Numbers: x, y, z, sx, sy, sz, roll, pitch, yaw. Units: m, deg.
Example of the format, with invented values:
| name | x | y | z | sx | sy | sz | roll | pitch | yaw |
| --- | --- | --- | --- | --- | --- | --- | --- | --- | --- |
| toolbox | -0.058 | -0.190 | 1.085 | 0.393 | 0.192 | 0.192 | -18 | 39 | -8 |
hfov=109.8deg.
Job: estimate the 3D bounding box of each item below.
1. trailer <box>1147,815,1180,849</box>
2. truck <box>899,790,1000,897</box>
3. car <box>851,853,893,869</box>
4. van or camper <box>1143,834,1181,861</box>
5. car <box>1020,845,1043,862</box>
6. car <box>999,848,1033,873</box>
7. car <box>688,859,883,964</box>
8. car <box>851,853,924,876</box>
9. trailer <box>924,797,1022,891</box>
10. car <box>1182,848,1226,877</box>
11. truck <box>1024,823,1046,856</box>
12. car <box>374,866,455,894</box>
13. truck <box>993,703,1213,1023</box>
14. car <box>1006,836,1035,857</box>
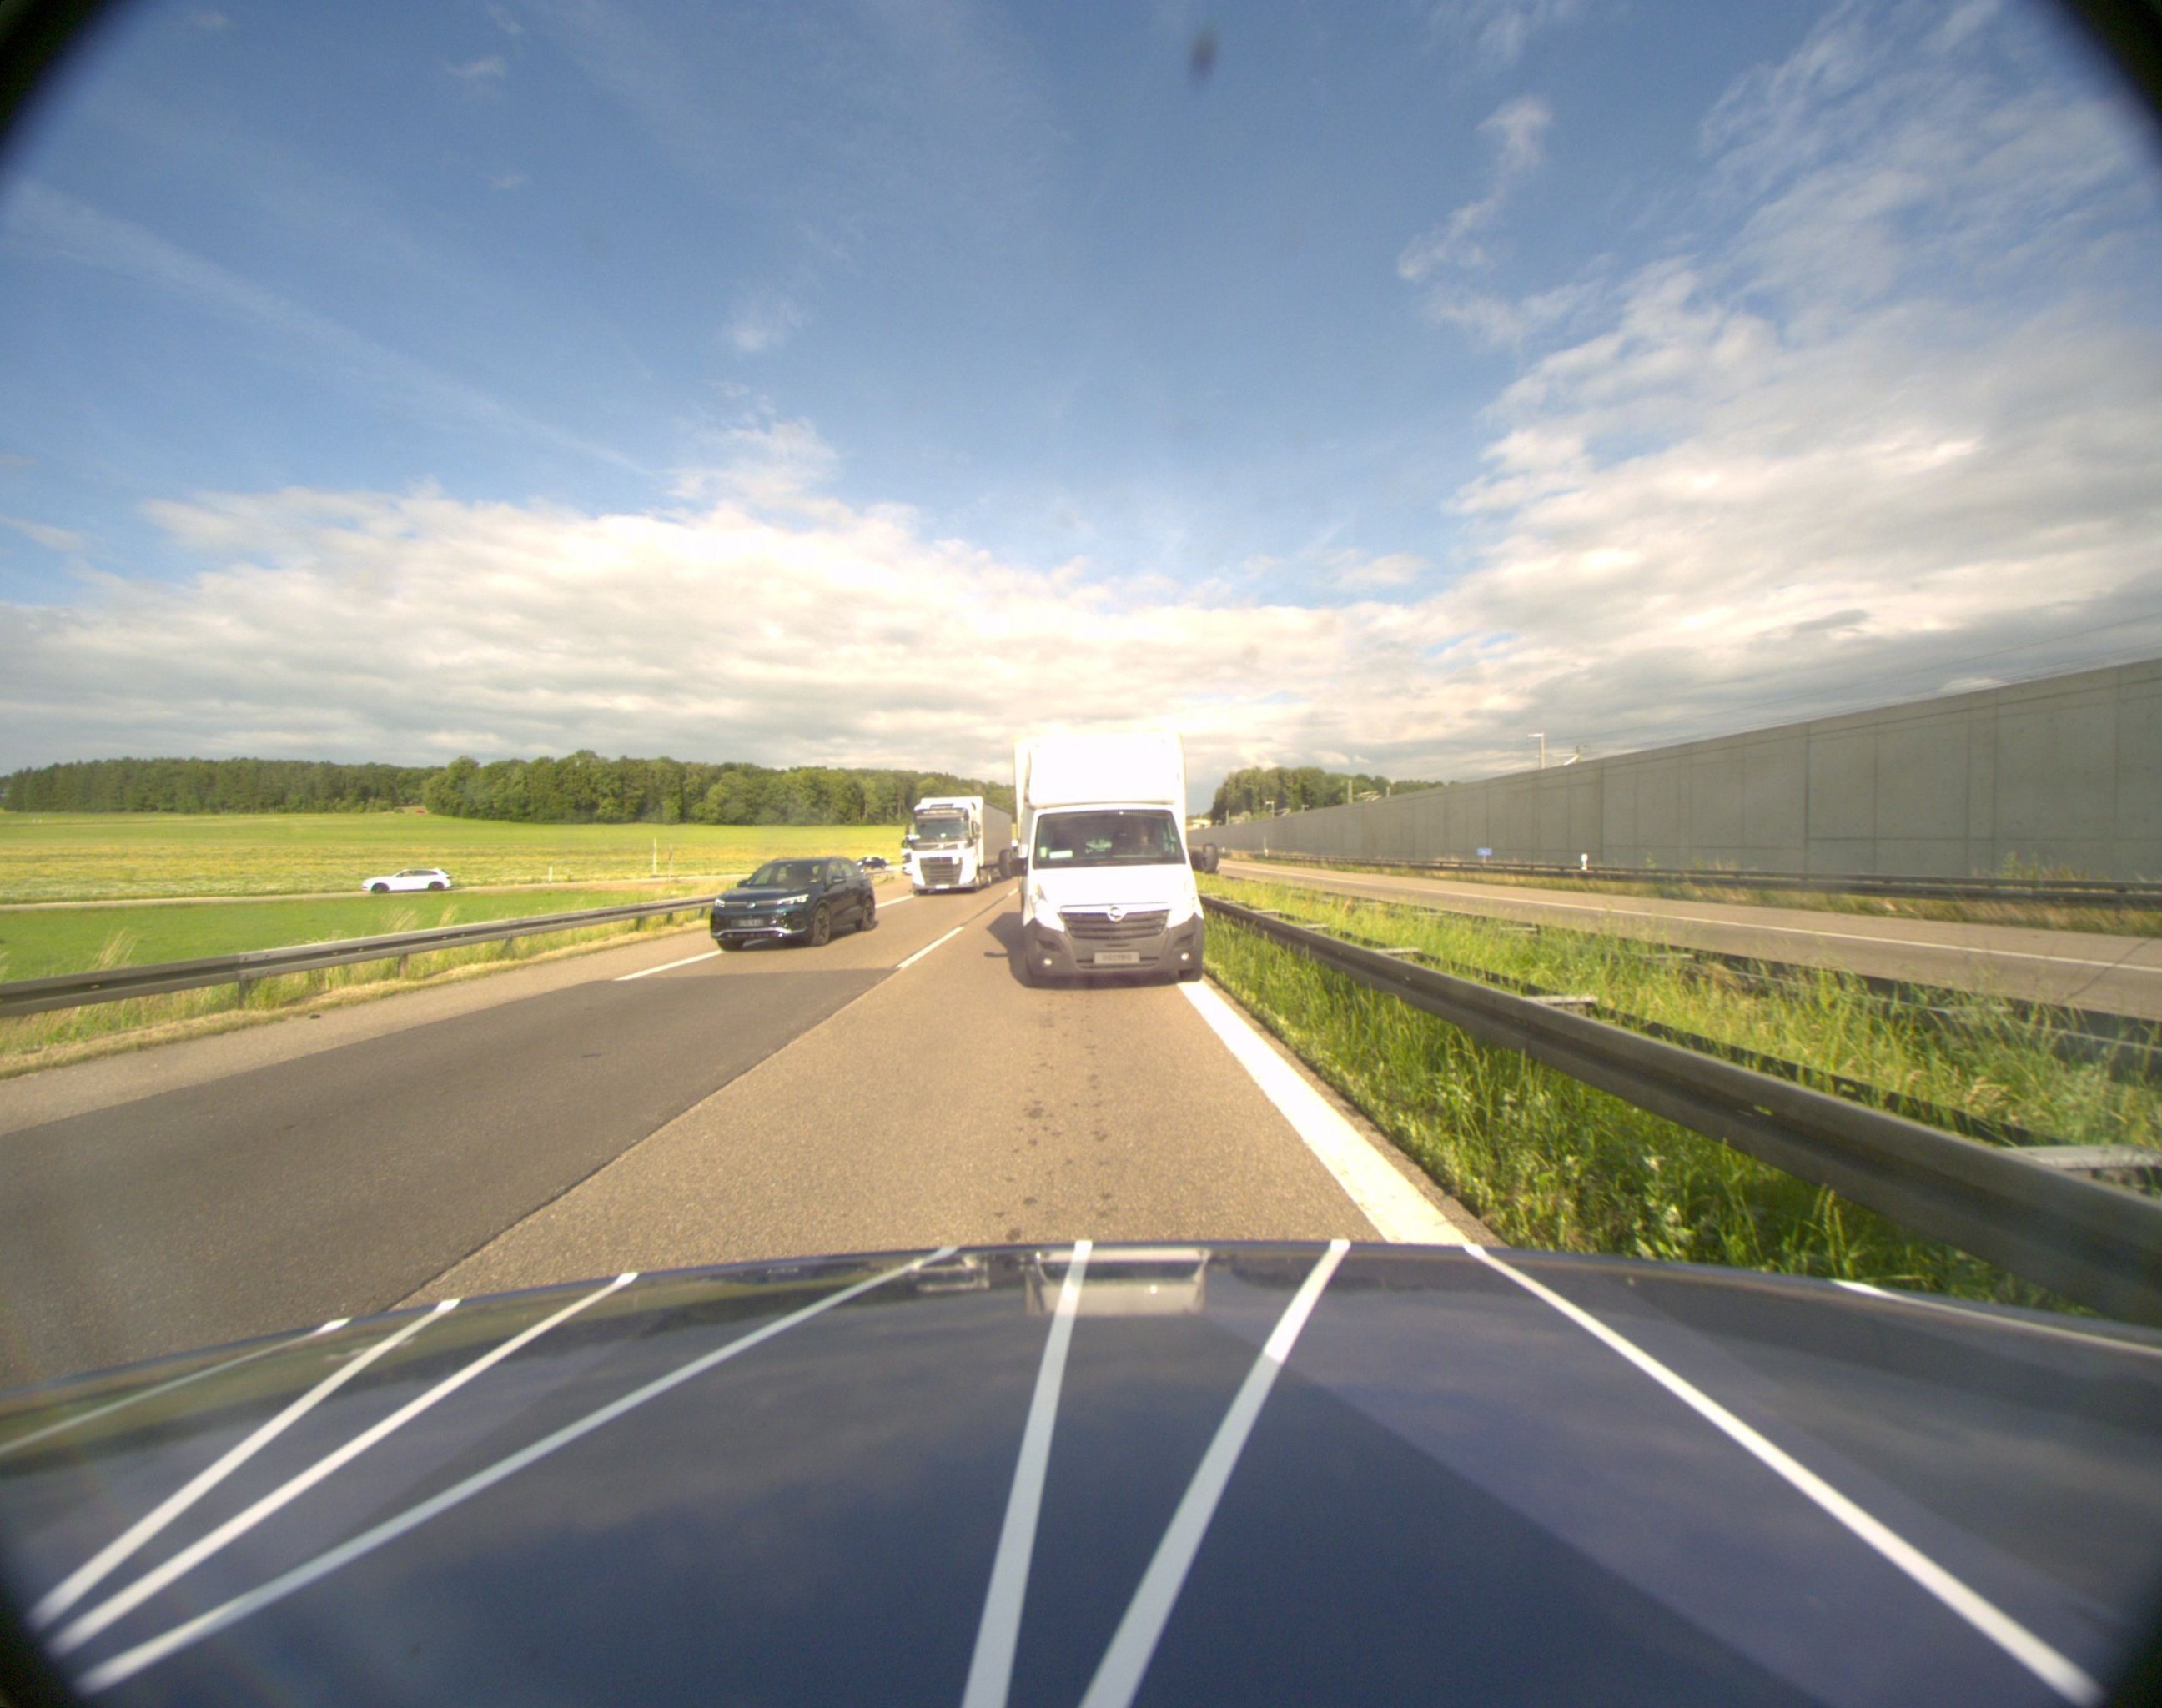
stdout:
| name | x | y | z | sx | sy | sz | roll | pitch | yaw |
| --- | --- | --- | --- | --- | --- | --- | --- | --- | --- |
| trailer | 10.875 | -2.814 | 100.900 | 2.661 | 4.057 | 12.393 | -2 | 1 | -1 |
| truck | -5.341 | -0.423 | 32.178 | 2.842 | 3.967 | 6.500 | -2 | 1 | 1 |
| car | -20.969 | 0.697 | 76.325 | 3.567 | 1.521 | 1.720 | -3 | 1 | -38 |
| van or camper | 7.016 | -0.553 | 66.390 | 2.172 | 2.193 | 6.255 | -2 | 1 | -4 |
| car | -5.089 | -0.053 | 77.906 | 1.998 | 1.647 | 3.999 | -2 | 1 | 1 |
| car | -4.572 | 0.437 | 54.165 | 1.998 | 1.647 | 3.999 | -2 | 1 | 1 |
| car | -5.453 | 0.970 | 14.696 | 1.998 | 1.587 | 4.119 | -2 | 1 | 1 |
| car | -14.958 | 0.795 | 58.783 | 5.087 | 1.537 | 1.996 | -3 | 1 | -26 |
| trailer | -5.159 | -0.523 | 38.996 | 2.826 | 3.959 | 12.127 | -2 | 1 | 1 |
| car | 7.094 | 0.452 | 44.074 | 1.848 | 1.499 | 4.550 | -2 | 1 | 1 |
| truck | -5.280 | -1.700 | 88.710 | 1.998 | 3.663 | 5.931 | -2 | 1 | 1 |
| car | -45.748 | 1.758 | 52.264 | 4.007 | 1.609 | 1.995 | -3 | 1 | -38 |
| truck | 0.310 | 0.042 | 11.399 | 2.059 | 3.088 | 7.803 | -2 | 1 | 1 |
| car | -5.112 | -0.622 | 64.785 | 1.998 | 1.647 | 3.999 | -2 | 1 | 1 |
